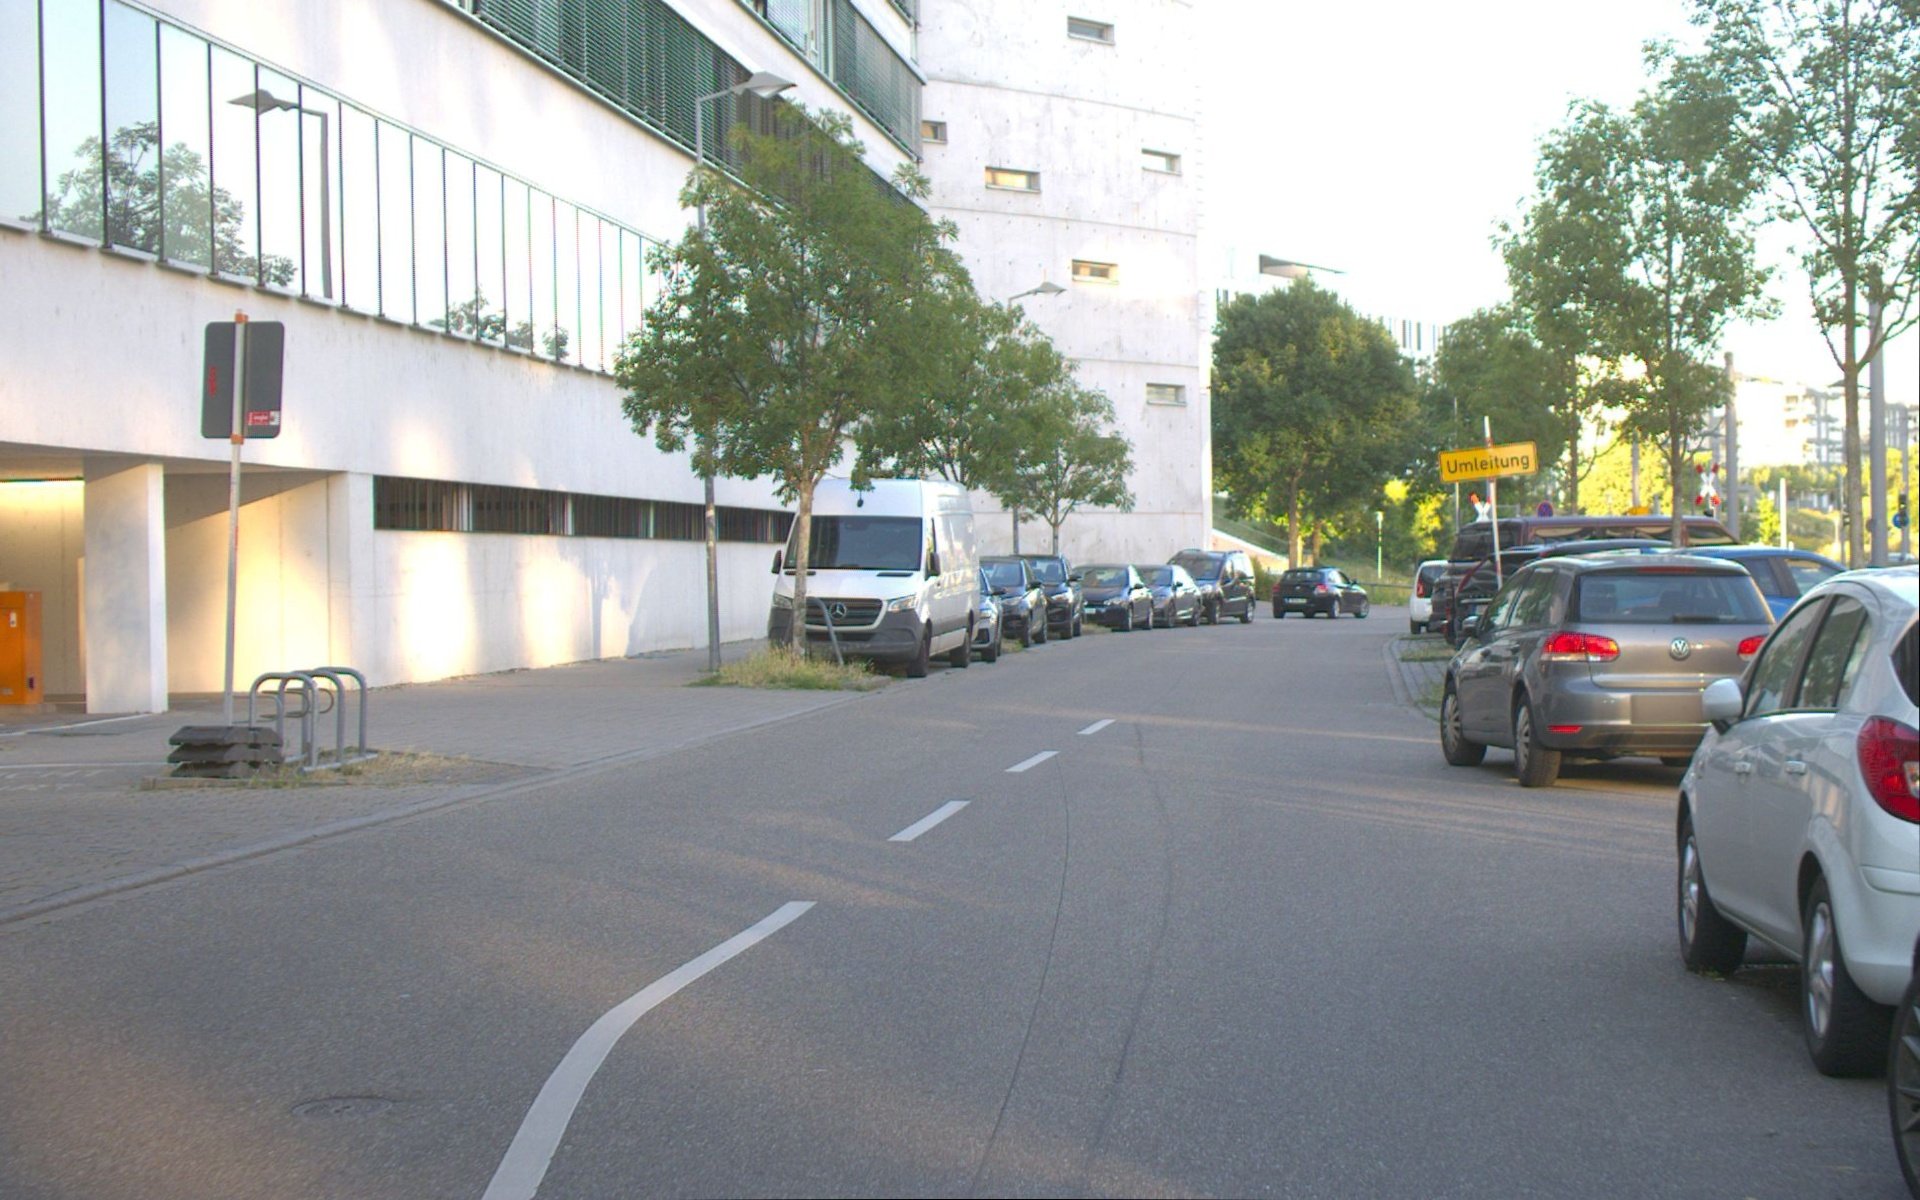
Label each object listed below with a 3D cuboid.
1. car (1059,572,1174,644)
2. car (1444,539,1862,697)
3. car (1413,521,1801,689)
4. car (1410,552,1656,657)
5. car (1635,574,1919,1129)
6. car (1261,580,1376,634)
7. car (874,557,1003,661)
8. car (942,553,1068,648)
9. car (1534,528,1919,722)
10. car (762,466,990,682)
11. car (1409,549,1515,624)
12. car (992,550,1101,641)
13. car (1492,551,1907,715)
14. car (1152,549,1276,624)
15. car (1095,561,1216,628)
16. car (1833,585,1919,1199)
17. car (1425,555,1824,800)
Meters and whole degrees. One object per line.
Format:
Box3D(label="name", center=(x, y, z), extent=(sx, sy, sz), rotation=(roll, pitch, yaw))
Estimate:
Box3D(label="car", center=(3.443, 0.152, 75.125), extent=(1.723, 1.452, 4.269), rotation=(1, 1, 13))
Box3D(label="car", center=(8.121, 0.191, 40.246), extent=(4.587, 1.743, 1.872), rotation=(0, 1, -27))
Box3D(label="car", center=(8.181, 0.049, 43.420), extent=(4.587, 2.028, 1.872), rotation=(0, 1, -27))
Box3D(label="car", center=(9.725, 0.065, 58.354), extent=(3.766, 1.720, 1.764), rotation=(0, 1, -26))
Box3D(label="car", center=(3.317, 0.650, 11.172), extent=(1.676, 1.447, 4.187), rotation=(0, 1, 4))
Box3D(label="car", center=(9.977, 0.182, 95.482), extent=(1.946, 1.378, 4.394), rotation=(2, 1, 23))
Box3D(label="car", center=(-0.292, 0.106, 52.003), extent=(1.756, 1.435, 3.901), rotation=(1, 1, 2))
Box3D(label="car", center=(0.831, -0.020, 60.769), extent=(1.756, 1.555, 4.042), rotation=(1, 1, 7))
Box3D(label="car", center=(7.133, 0.190, 29.411), extent=(3.987, 1.515, 1.928), rotation=(-2, -1, -28))
Box3D(label="car", center=(-1.007, -0.388, 45.602), extent=(1.959, 2.608, 6.891), rotation=(1, 1, 7))
Box3D(label="car", center=(10.245, -0.291, 69.986), extent=(1.723, 1.462, 3.550), rotation=(-1, 1, 15))
Box3D(label="car", center=(1.714, -0.114, 66.859), extent=(1.756, 1.648, 3.948), rotation=(1, 1, 6))
Box3D(label="car", center=(7.624, 0.346, 35.368), extent=(3.986, 1.589, 1.737), rotation=(1, 0, -29))
Box3D(label="car", center=(6.345, -0.361, 85.475), extent=(1.759, 1.792, 4.458), rotation=(2, 1, 22))
Box3D(label="car", center=(4.628, -0.154, 80.648), extent=(1.724, 1.452, 4.690), rotation=(2, 1, 17))
Box3D(label="car", center=(2.859, 0.720, 5.978), extent=(1.787, 1.447, 4.515), rotation=(0, 1, 4))
Box3D(label="car", center=(4.338, 0.469, 23.027), extent=(1.731, 1.461, 4.000), rotation=(1, 0, -2))
